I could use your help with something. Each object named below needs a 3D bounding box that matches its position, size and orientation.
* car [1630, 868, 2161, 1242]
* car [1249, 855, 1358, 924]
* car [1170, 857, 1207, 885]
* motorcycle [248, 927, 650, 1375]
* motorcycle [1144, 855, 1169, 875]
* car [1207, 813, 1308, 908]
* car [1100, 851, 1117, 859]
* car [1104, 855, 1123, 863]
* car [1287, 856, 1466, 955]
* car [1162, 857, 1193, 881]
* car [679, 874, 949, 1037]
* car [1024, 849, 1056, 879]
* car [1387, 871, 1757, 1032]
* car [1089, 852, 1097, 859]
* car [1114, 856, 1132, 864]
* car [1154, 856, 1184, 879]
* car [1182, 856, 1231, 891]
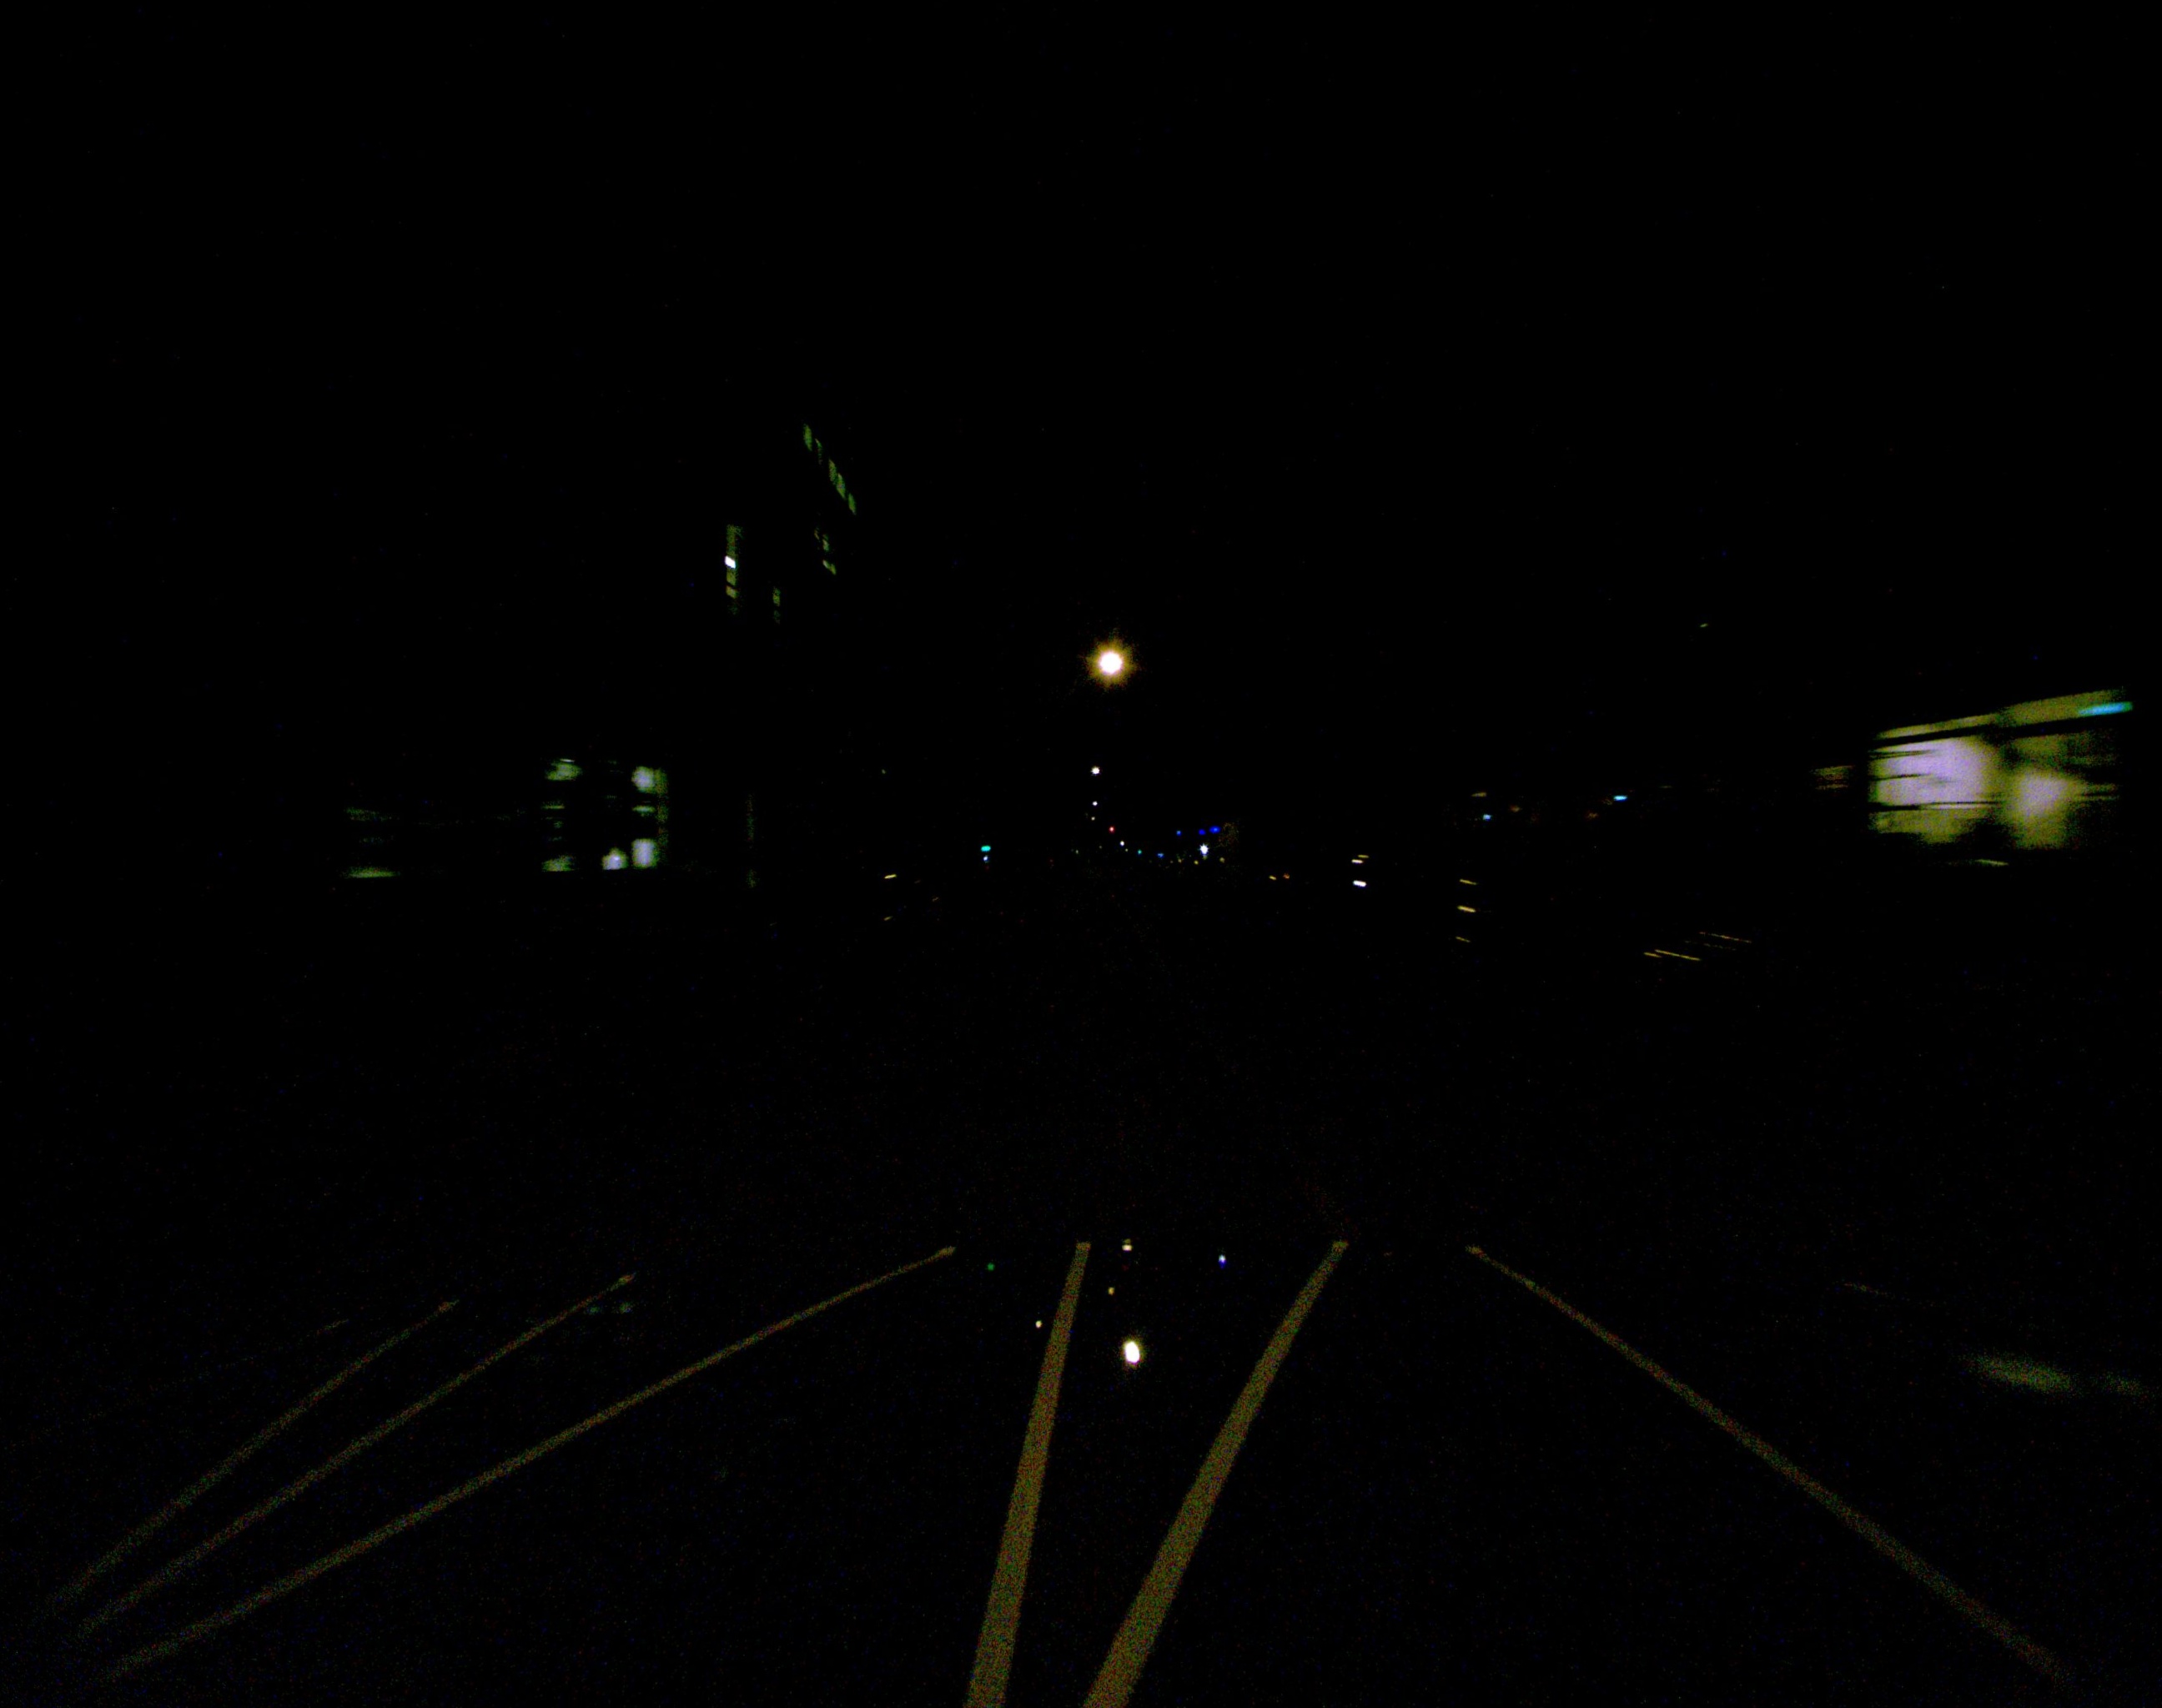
[{"bbox_3d":[5.556,0.909,4.347,1.721,1.493,4.205,-3,0,0],"label":"car"},{"bbox_3d":[5.789,0.860,20.306,1.746,1.597,4.116,-2,0,1],"label":"car"},{"bbox_3d":[6.048,0.930,42.941,1.551,1.447,3.368,-3,0,0],"label":"car"},{"bbox_3d":[-2.783,1.101,3.729,0.930,1.276,2.230,1,0,-24],"label":"motorcycle"},{"bbox_3d":[6.313,0.902,63.348,1.909,1.541,0.638,-3,1,-19],"label":"motorcycle"},{"bbox_3d":[5.880,0.205,26.007,2.184,2.892,4.909,-2,0,0],"label":"car"},{"bbox_3d":[6.374,0.308,175.272,3.848,1.781,1.634,0,0,-3],"label":"car"},{"bbox_3d":[7.286,1.114,171.748,4.055,1.879,1.634,0,0,-3],"label":"car"},{"bbox_3d":[5.598,0.882,15.025,1.746,1.597,4.297,-2,0,-1],"label":"car"},{"bbox_3d":[6.189,0.931,49.058,1.448,1.421,3.903,-3,0,0],"label":"car"},{"bbox_3d":[-2.952,1.036,9.409,1.672,1.420,4.148,1,0,3],"label":"car"},{"bbox_3d":[-2.756,0.635,51.643,1.956,1.952,4.603,-1,0,-1],"label":"car"},{"bbox_3d":[5.734,1.008,9.739,1.709,1.403,4.633,-3,0,0],"label":"car"},{"bbox_3d":[2.798,0.440,179.505,1.936,1.646,3.833,0,0,0],"label":"car"},{"bbox_3d":[9.035,1.324,164.730,3.763,1.576,1.634,0,0,-3],"label":"car"},{"bbox_3d":[6.195,0.924,53.828,1.646,1.495,3.903,-3,0,0],"label":"car"},{"bbox_3d":[5.992,0.907,36.764,1.649,1.496,3.861,-3,0,0],"label":"car"}]
